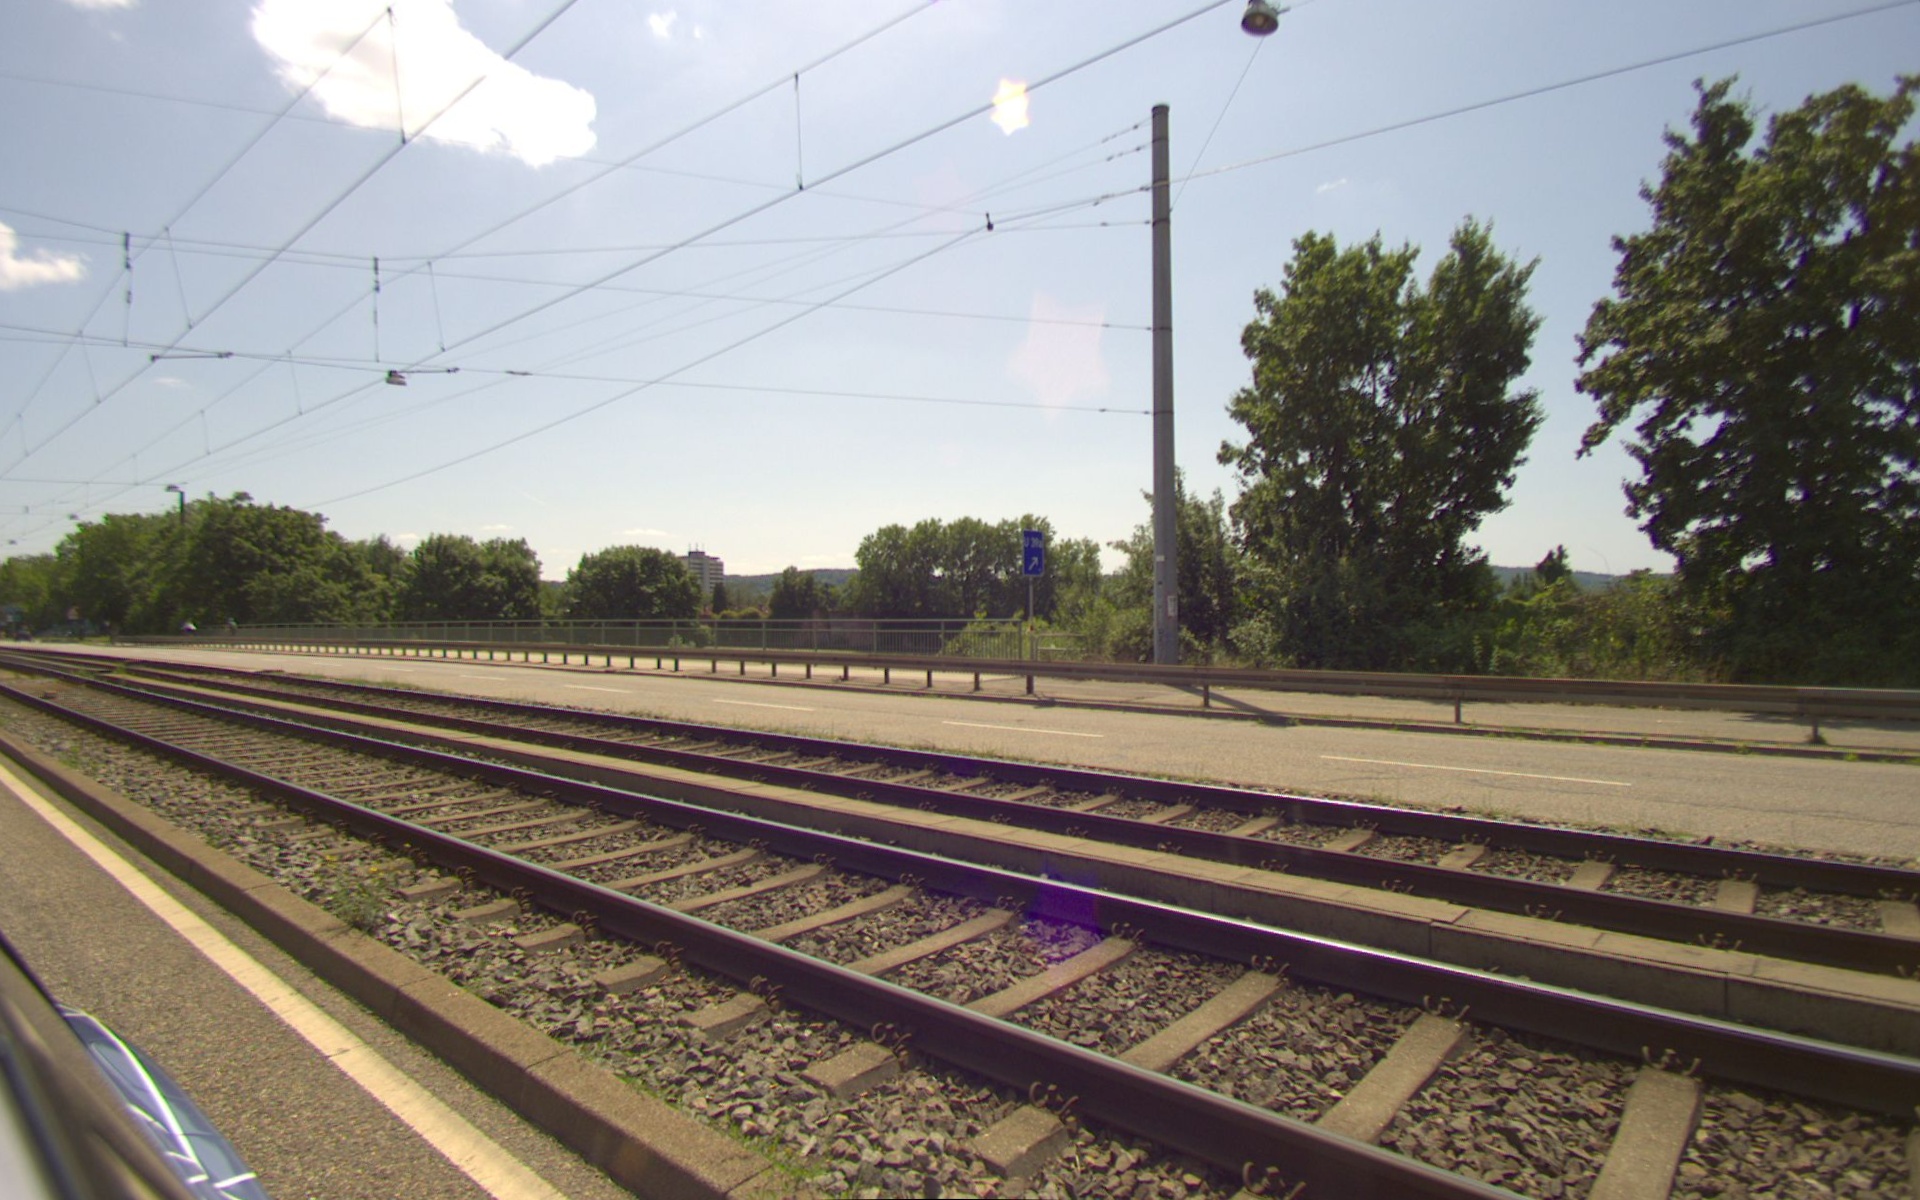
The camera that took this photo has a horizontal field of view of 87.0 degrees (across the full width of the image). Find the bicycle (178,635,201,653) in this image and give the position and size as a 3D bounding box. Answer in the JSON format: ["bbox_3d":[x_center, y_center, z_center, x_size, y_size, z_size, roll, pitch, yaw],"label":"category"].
[{"bbox_3d":[-53.614,3.048,70.403,2.061,1.194,0.848,-1,0,41],"label":"bicycle"}]

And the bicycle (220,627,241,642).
[{"bbox_3d":[-44.819,2.118,62.167,2.034,0.849,0.517,-2,0,40],"label":"bicycle"}]

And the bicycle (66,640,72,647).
[{"bbox_3d":[-124.007,6.024,140.819,0.579,0.825,2.070,-2,1,-43],"label":"bicycle"}]

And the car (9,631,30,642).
[{"bbox_3d":[-121.268,4.651,130.469,3.927,1.357,1.546,-1,-2,42],"label":"car"}]

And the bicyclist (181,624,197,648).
[{"bbox_3d":[-53.678,2.478,70.452,0.837,1.634,0.755,-2,-1,41],"label":"bicyclist"}]
